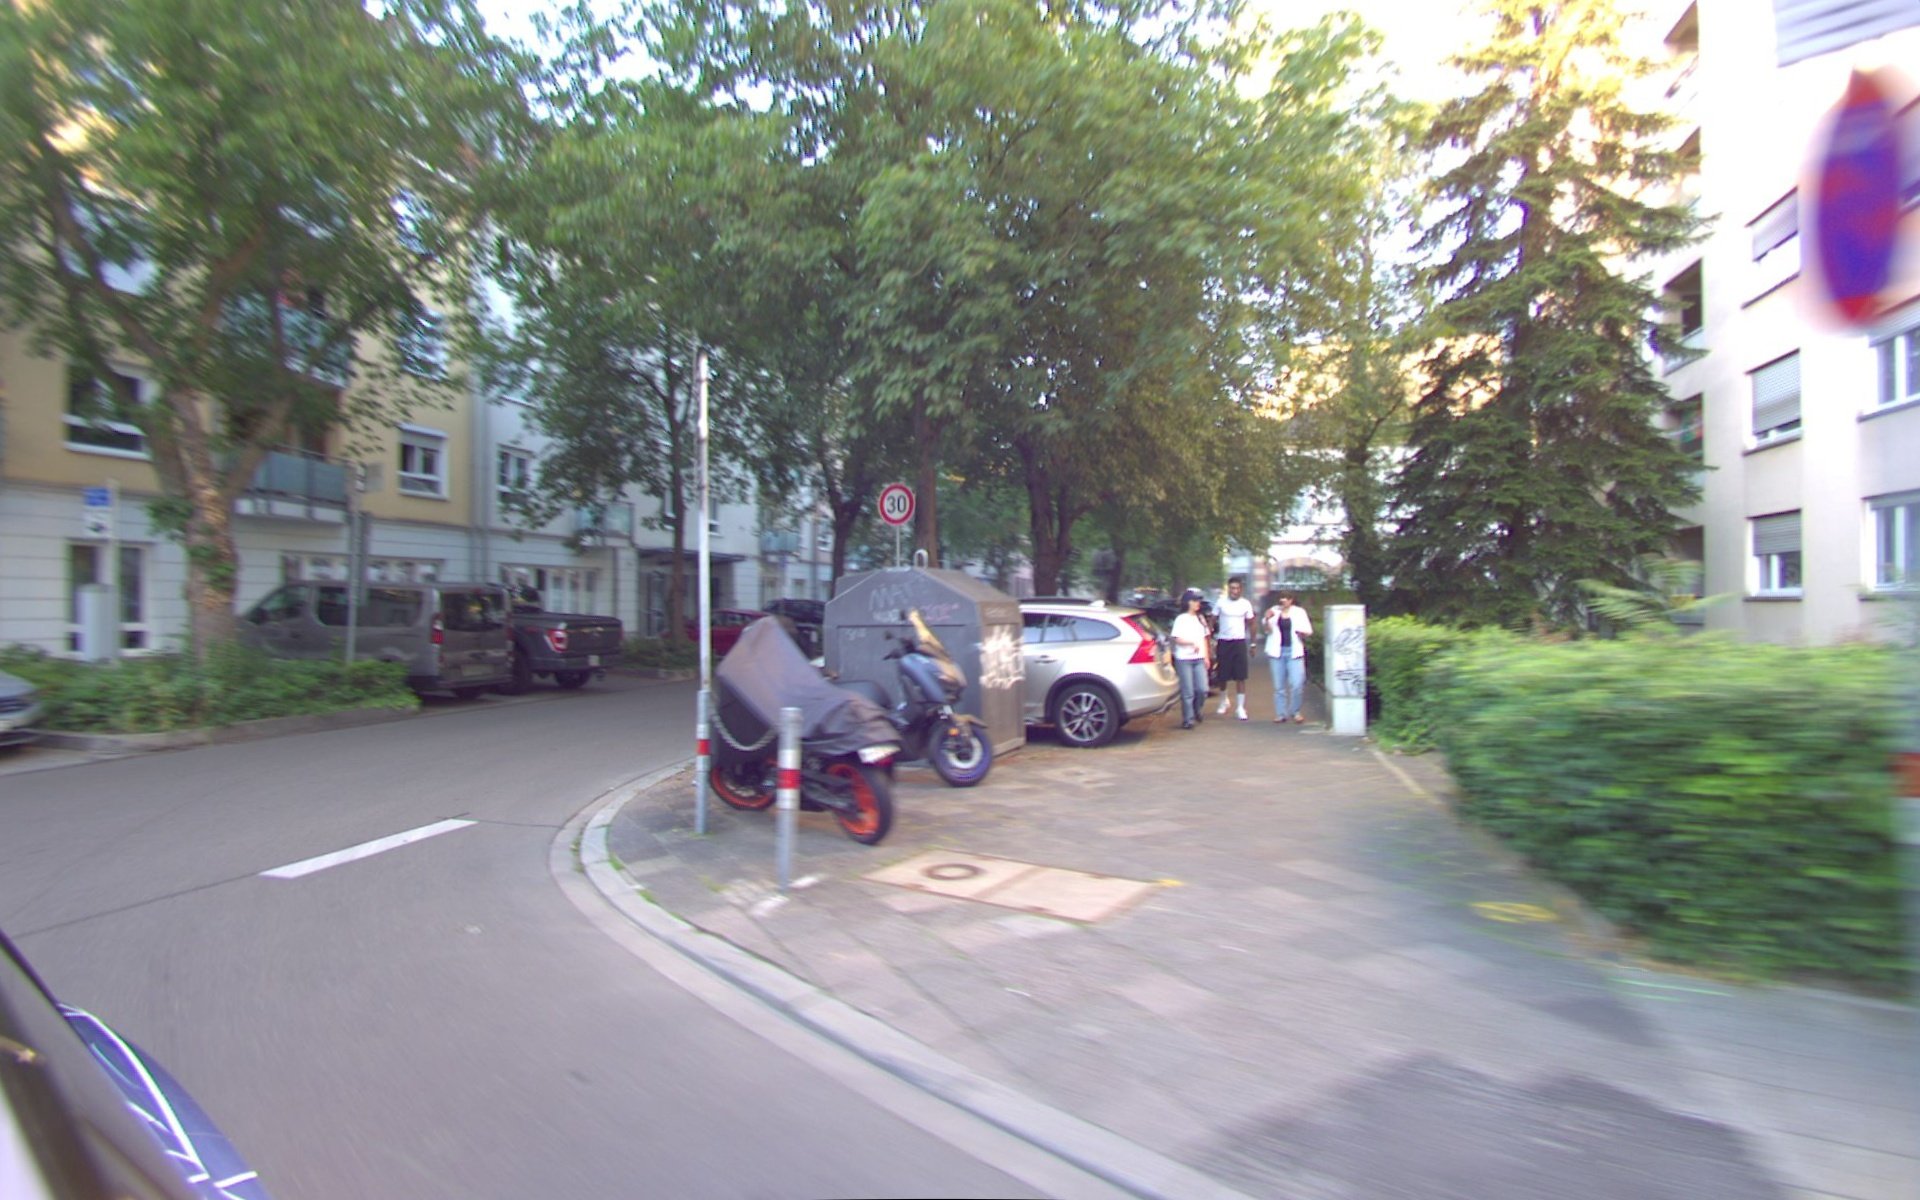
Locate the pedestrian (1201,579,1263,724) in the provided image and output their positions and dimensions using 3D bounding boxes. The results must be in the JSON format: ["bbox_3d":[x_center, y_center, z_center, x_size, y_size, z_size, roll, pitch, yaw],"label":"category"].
[{"bbox_3d":[3.490,0.646,12.971,0.693,1.801,0.661,-1,-1,20],"label":"pedestrian"}]

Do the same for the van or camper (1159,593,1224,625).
[{"bbox_3d":[17.745,0.683,77.420,4.789,2.446,1.935,0,-1,16],"label":"van or camper"}]

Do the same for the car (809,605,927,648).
[{"bbox_3d":[-3.805,1.058,41.978,4.544,1.563,1.764,2,0,15],"label":"car"}]

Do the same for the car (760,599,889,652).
[{"bbox_3d":[-4.923,0.911,37.096,4.346,1.716,1.891,2,0,8],"label":"car"}]

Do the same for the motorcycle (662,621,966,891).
[{"bbox_3d":[-0.996,0.832,6.323,0.712,1.384,2.226,0,-1,-44],"label":"motorcycle"}]

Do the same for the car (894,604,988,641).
[{"bbox_3d":[-0.830,1.017,46.424,3.958,1.486,1.907,3,0,12],"label":"car"}]

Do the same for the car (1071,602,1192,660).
[{"bbox_3d":[5.055,0.895,29.650,3.382,1.621,1.753,-1,-1,13],"label":"car"}]

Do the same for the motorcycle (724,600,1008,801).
[{"bbox_3d":[-0.766,0.766,8.231,2.205,1.505,0.687,-1,0,17],"label":"motorcycle"}]

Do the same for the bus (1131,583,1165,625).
[{"bbox_3d":[19.409,0.459,104.171,2.809,4.141,7.794,0,0,15],"label":"bus"}]

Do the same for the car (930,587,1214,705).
[{"bbox_3d":[1.886,0.749,16.758,4.367,1.697,2.055,-2,-1,13],"label":"car"}]

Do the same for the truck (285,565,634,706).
[{"bbox_3d":[-9.550,0.589,19.410,5.969,2.149,2.249,3,1,16],"label":"truck"}]

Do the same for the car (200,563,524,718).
[{"bbox_3d":[-9.963,0.597,16.955,4.593,2.149,2.026,3,1,16],"label":"car"}]

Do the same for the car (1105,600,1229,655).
[{"bbox_3d":[7.754,1.025,37.802,4.391,1.906,1.990,-1,-1,15],"label":"car"}]

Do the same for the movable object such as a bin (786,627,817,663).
[{"bbox_3d":[-4.827,1.362,30.836,0.769,1.076,0.586,-1,-1,14],"label":"movable object such as a bin"}]

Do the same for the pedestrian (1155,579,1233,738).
[{"bbox_3d":[2.740,0.664,11.886,0.686,1.801,0.531,0,-1,-25],"label":"pedestrian"}]

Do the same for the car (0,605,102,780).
[{"bbox_3d":[-11.744,0.943,10.556,4.764,1.717,1.828,-1,0,14],"label":"car"}]

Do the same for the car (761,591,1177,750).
[{"bbox_3d":[0.179,0.803,11.884,4.473,1.593,2.044,-3,-1,16],"label":"car"}]

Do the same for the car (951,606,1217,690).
[{"bbox_3d":[2.356,0.889,18.994,4.684,1.435,2.063,-1,-1,13],"label":"car"}]

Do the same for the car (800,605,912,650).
[{"bbox_3d":[-4.046,1.048,39.519,3.966,1.537,1.717,2,0,17],"label":"car"}]

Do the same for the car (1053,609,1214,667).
[{"bbox_3d":[4.635,1.009,27.011,4.072,1.390,1.739,-2,-1,13],"label":"car"}]

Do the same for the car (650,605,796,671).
[{"bbox_3d":[-6.741,1.050,28.906,3.640,1.559,1.773,3,2,13],"label":"car"}]

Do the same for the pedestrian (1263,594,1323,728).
[{"bbox_3d":[4.034,0.728,12.277,0.656,1.584,0.445,-1,-1,20],"label":"pedestrian"}]
